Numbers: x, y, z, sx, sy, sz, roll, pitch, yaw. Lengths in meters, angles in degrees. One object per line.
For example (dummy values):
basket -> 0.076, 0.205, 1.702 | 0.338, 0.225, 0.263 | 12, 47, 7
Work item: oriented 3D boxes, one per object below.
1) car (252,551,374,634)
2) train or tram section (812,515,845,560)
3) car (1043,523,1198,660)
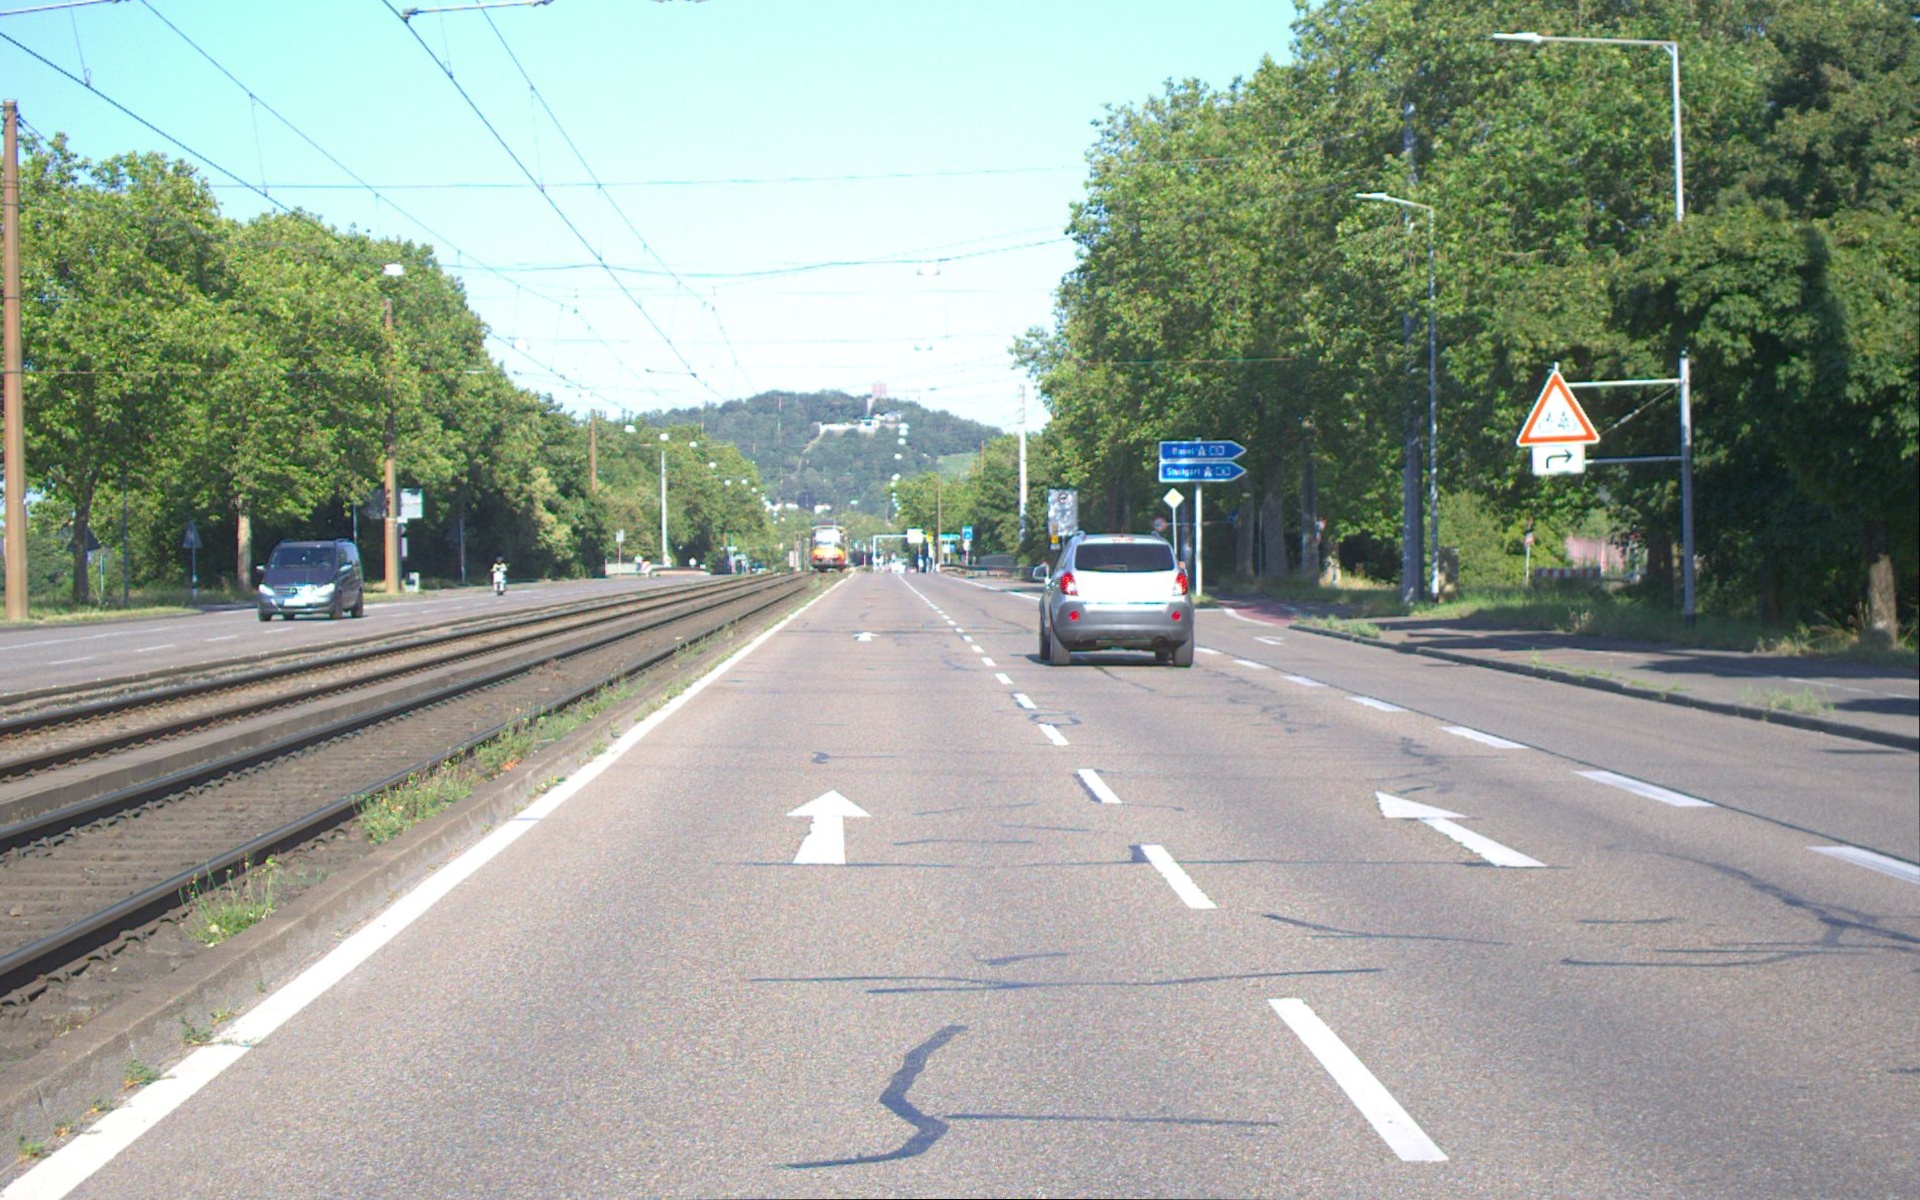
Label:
car -> -15.457, -0.191, 82.375 | 1.993, 1.916, 4.860 | -1, 0, 0
train or tram section -> -10.046, -4.767, 263.212 | 2.310, 3.206, 9.476 | 2, 0, -1
car -> 2.060, -0.116, 45.112 | 1.888, 1.688, 4.256 | 1, 0, 1
